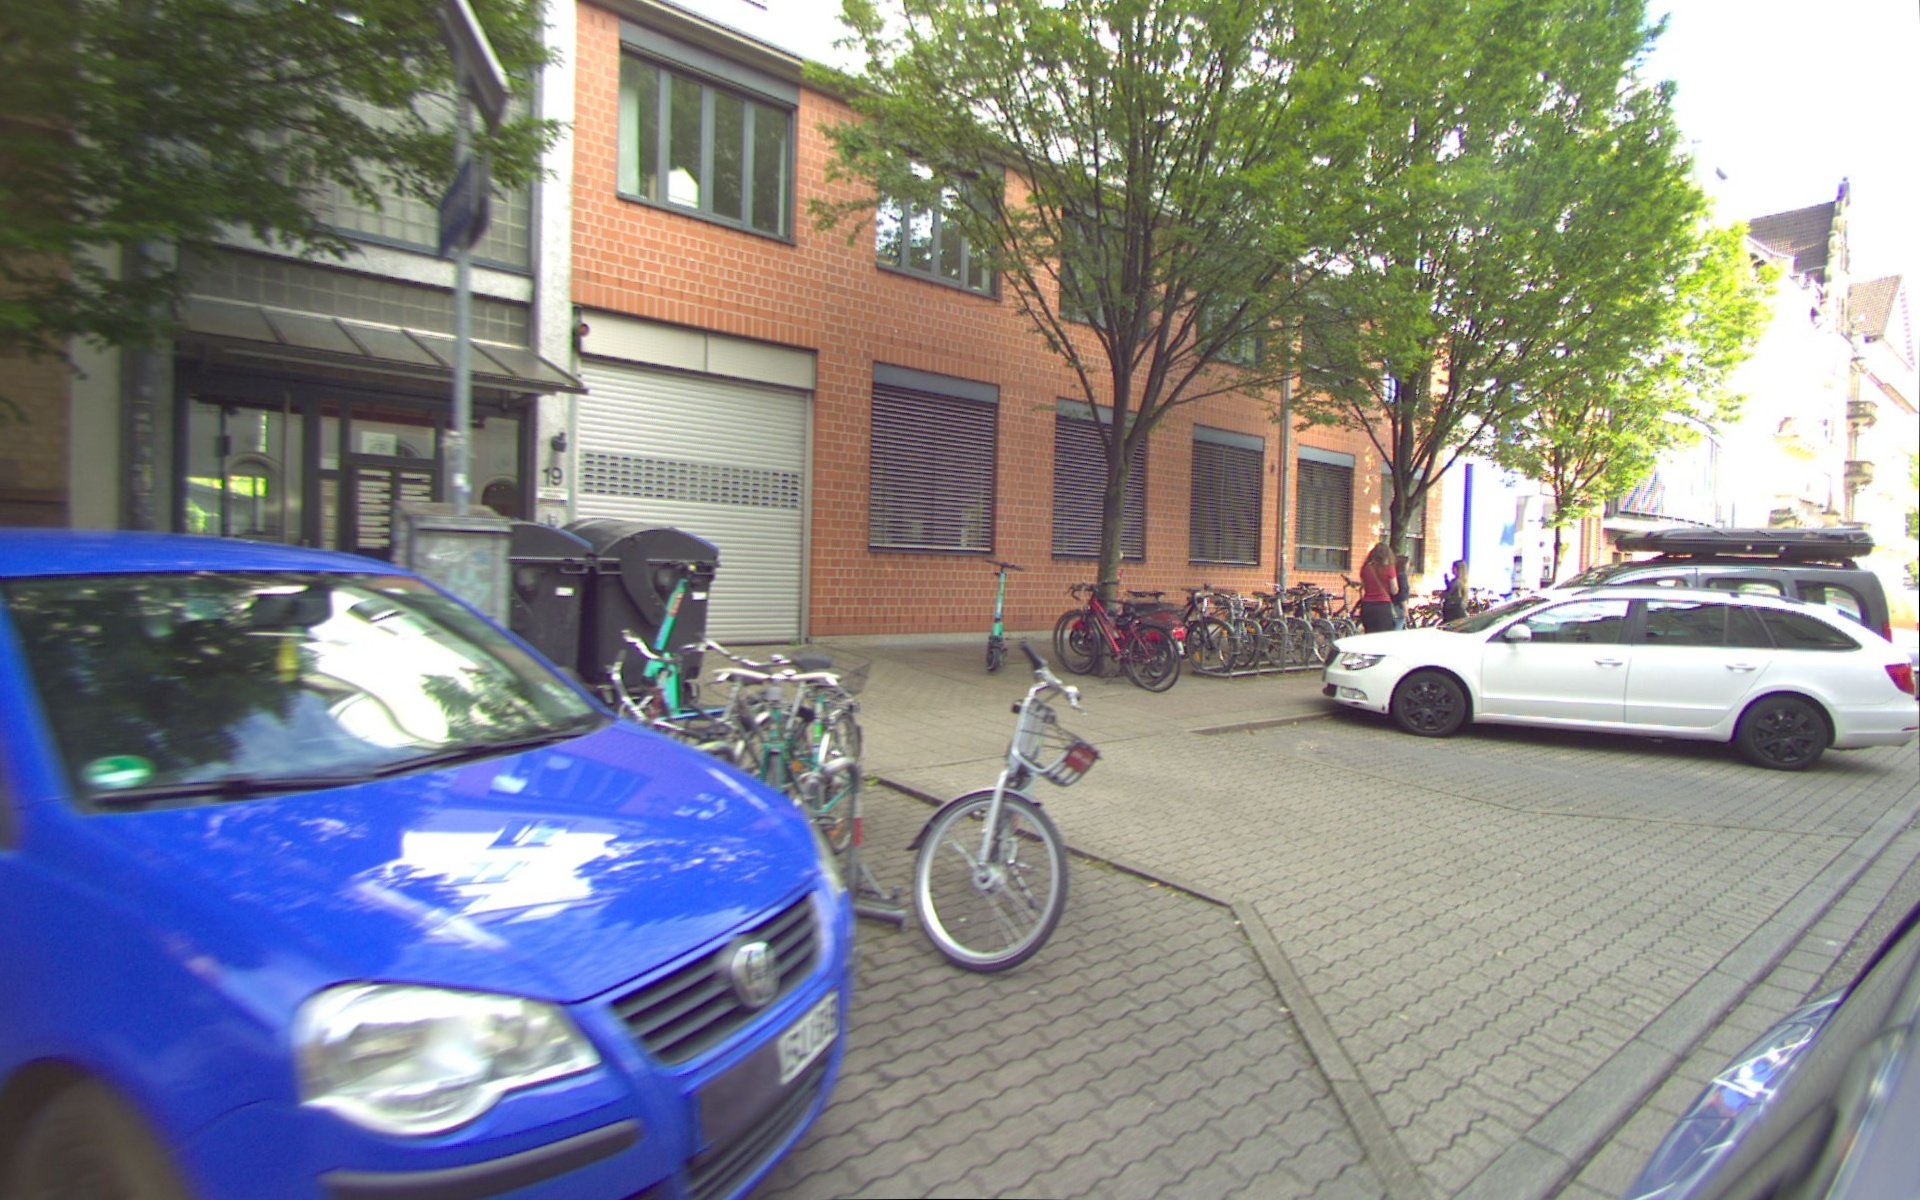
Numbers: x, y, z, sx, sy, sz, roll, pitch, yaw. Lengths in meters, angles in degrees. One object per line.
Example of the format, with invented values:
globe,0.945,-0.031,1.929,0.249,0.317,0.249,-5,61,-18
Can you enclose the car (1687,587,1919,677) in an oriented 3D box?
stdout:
car,16.051,0.541,18.558,3.948,1.527,1.988,1,1,19

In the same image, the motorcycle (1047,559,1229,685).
motorcycle,2.064,0.213,12.009,0.813,1.241,1.984,0,5,-42

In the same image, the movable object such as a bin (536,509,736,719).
movable object such as a bin,-2.658,0.059,8.236,1.020,1.462,1.375,0,7,-42

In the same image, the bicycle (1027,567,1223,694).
bicycle,1.761,0.284,11.125,0.806,1.108,2.026,0,6,-40

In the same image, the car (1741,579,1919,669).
car,18.272,0.443,20.077,3.948,1.694,1.916,1,1,19

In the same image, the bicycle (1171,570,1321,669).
bicycle,3.782,0.222,13.526,0.528,1.132,1.886,0,5,-42

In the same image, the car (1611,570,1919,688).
car,13.329,0.418,16.723,3.948,1.783,1.901,1,1,19

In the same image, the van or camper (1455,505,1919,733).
van or camper,7.880,0.155,11.355,3.950,2.206,1.987,1,0,20

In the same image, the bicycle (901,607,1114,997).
bicycle,0.284,0.674,4.261,0.690,1.227,1.744,0,1,10

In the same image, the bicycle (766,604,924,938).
bicycle,-0.472,0.662,4.765,0.441,1.166,1.786,0,3,3

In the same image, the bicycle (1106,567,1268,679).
bicycle,2.794,0.247,12.649,0.607,1.154,1.920,0,5,-42

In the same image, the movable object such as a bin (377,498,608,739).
movable object such as a bin,-3.492,0.076,7.513,1.144,1.476,1.375,0,9,-42

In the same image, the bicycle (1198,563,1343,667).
bicycle,4.232,0.176,13.905,0.607,1.219,1.781,0,5,-42

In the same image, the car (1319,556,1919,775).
car,6.030,0.468,9.669,4.745,1.562,1.861,4,3,18

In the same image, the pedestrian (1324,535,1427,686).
pedestrian,5.167,0.107,12.586,0.937,1.759,0.753,0,5,-45

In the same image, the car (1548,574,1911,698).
car,11.255,0.456,15.164,3.875,1.660,1.935,1,1,19

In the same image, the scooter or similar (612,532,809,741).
scooter or similar,-1.800,0.241,7.309,1.294,1.397,0.526,0,0,-26

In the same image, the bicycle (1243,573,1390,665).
bicycle,5.158,0.242,14.738,0.607,1.115,1.895,0,5,-42

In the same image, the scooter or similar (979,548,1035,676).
scooter or similar,0.562,0.096,11.697,0.515,1.329,1.321,4,4,4

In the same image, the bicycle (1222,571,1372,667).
bicycle,4.718,0.227,14.296,0.607,1.133,1.895,0,5,-42

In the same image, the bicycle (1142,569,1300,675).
bicycle,3.345,0.240,13.128,0.607,1.145,1.895,0,5,-42

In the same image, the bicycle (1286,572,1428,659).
bicycle,6.082,0.201,15.585,0.607,1.125,1.895,0,5,-42

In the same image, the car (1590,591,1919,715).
car,10.569,0.617,12.941,3.948,1.417,1.651,1,1,19

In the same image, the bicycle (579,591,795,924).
bicycle,-1.193,0.600,4.764,0.461,1.227,1.717,0,2,3

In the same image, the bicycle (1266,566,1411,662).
bicycle,5.629,0.175,15.159,0.607,1.219,1.895,0,5,-42

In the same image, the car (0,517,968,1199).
car,-2.145,0.535,2.816,3.956,1.456,1.712,4,3,23
